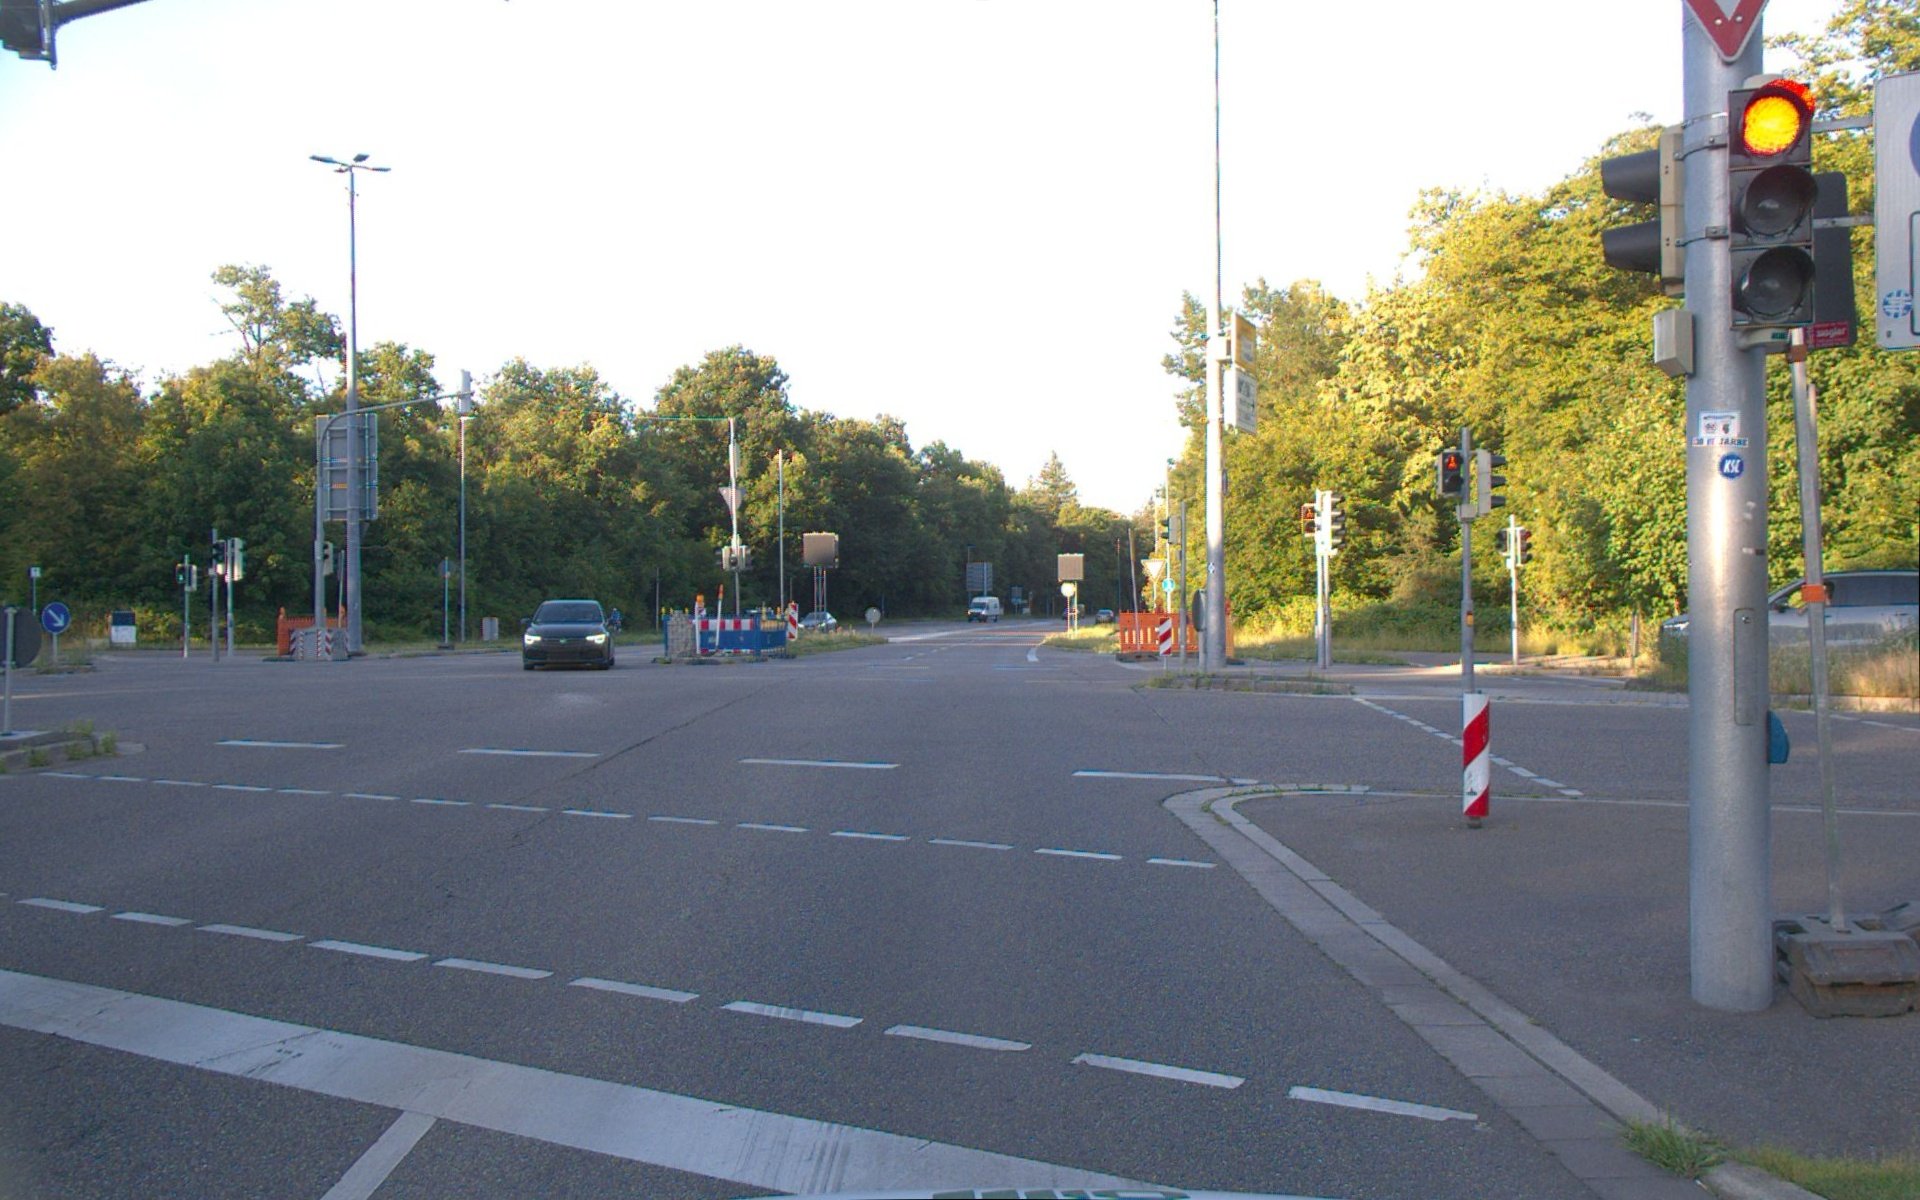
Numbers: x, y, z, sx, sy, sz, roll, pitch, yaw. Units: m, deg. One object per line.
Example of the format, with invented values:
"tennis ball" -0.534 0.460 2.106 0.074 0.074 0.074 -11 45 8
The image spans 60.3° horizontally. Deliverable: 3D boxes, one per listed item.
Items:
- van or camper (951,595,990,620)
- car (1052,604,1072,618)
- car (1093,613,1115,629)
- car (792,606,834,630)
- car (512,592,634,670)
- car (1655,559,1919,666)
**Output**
"van or camper" 1.143 0.797 178.200 2.823 2.699 7.128 0 0 12
"car" 13.133 1.431 212.084 1.951 1.668 4.004 -2 1 12
"car" 15.330 2.184 175.896 1.951 1.646 4.004 0 0 11
"car" -9.255 1.110 104.427 1.951 1.445 4.003 0 0 6
"car" -8.234 0.614 35.573 1.955 1.556 4.672 0 0 -6
"car" 13.741 0.201 26.493 4.716 1.626 2.000 -1 0 21
